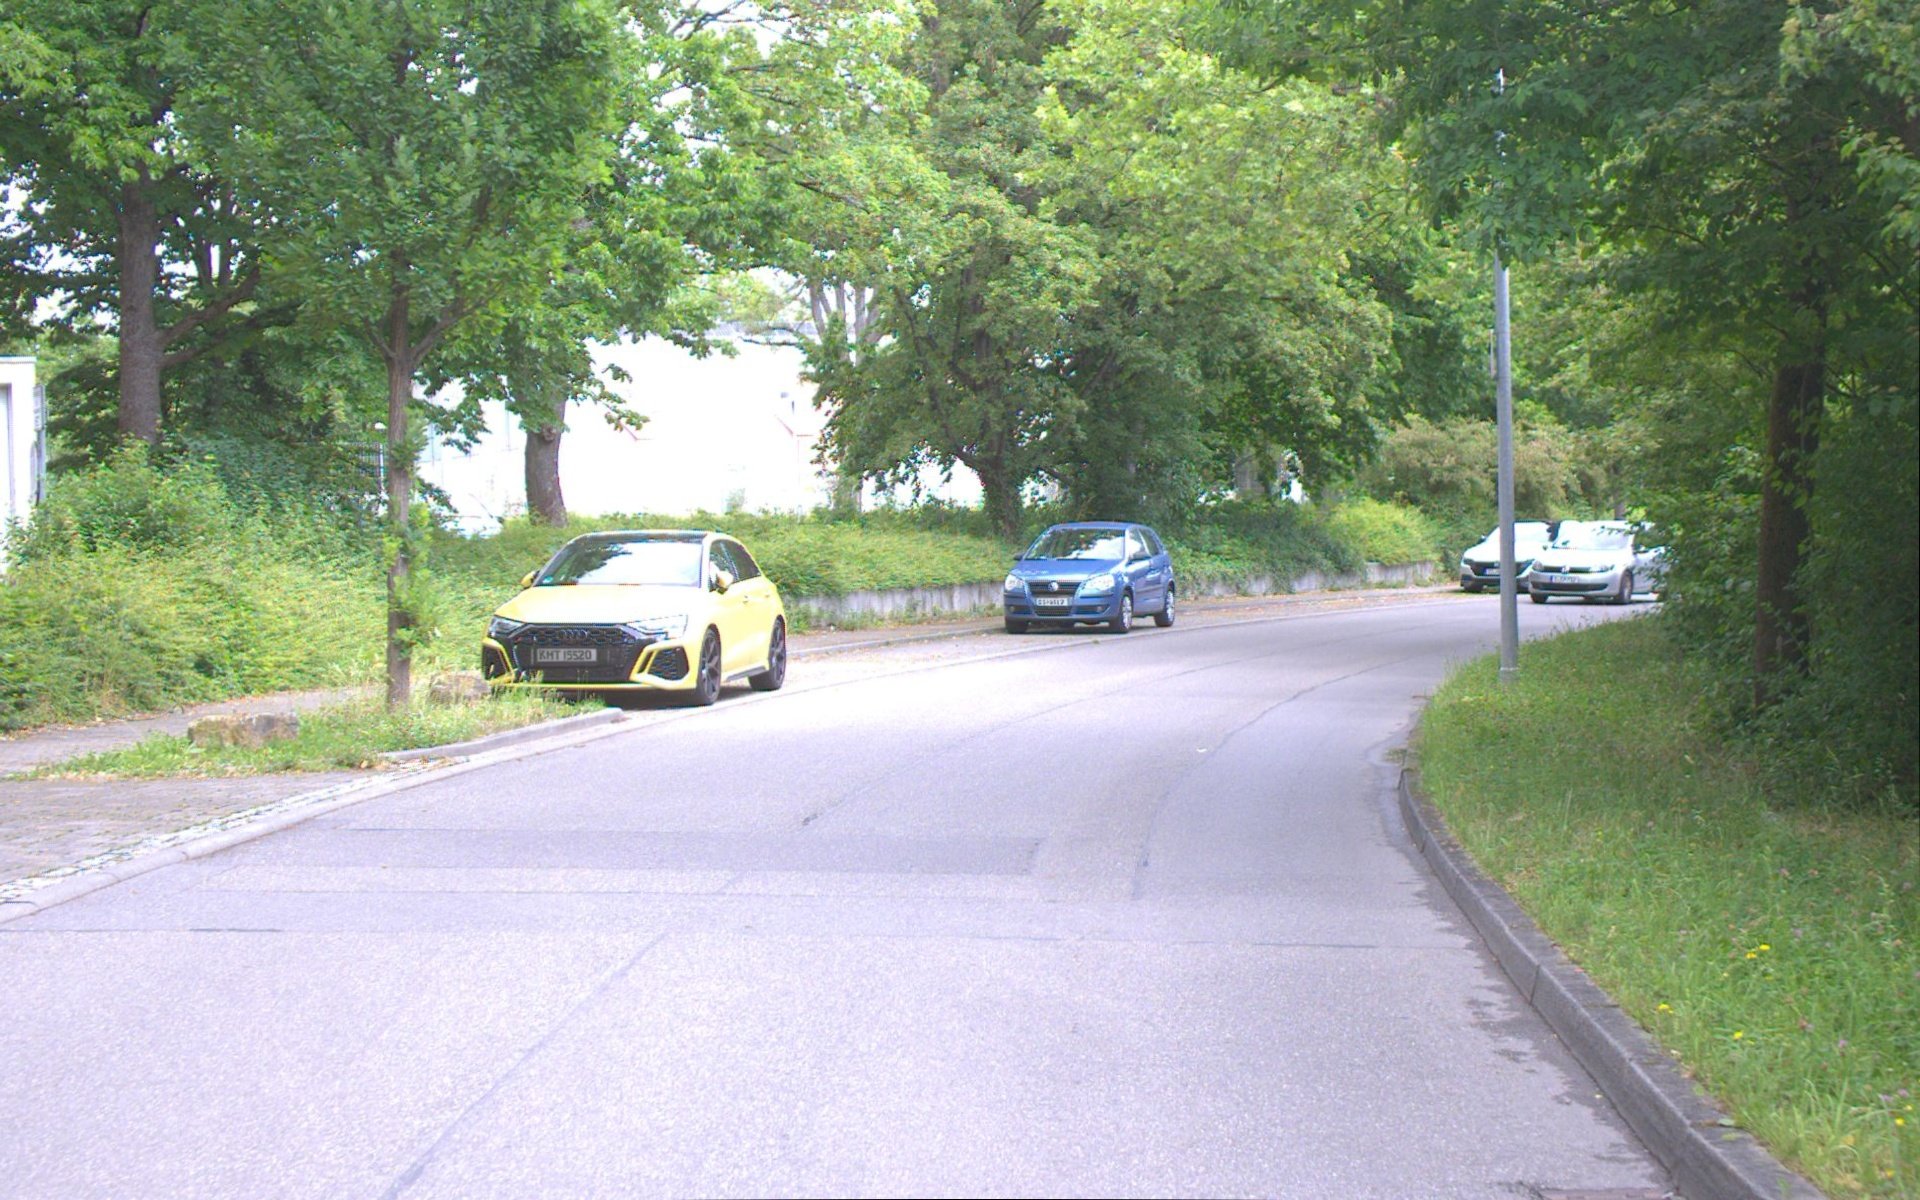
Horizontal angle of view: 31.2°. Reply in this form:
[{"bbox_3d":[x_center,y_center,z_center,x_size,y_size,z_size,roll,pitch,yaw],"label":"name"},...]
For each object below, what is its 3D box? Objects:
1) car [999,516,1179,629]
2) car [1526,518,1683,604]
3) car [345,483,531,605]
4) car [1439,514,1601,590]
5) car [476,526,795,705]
[{"bbox_3d":[1.781,-0.399,46.447,1.534,1.454,3.717,0,1,17],"label":"car"},{"bbox_3d":[11.697,-0.732,62.195,1.679,1.457,4.055,2,2,27],"label":"car"},{"bbox_3d":[-7.459,-0.810,48.855,1.740,1.616,3.874,-2,2,-22],"label":"car"},{"bbox_3d":[10.982,-0.957,67.198,1.817,1.419,4.354,1,2,28],"label":"car"},{"bbox_3d":[-2.640,0.084,28.972,1.701,1.398,4.272,0,1,9],"label":"car"}]
